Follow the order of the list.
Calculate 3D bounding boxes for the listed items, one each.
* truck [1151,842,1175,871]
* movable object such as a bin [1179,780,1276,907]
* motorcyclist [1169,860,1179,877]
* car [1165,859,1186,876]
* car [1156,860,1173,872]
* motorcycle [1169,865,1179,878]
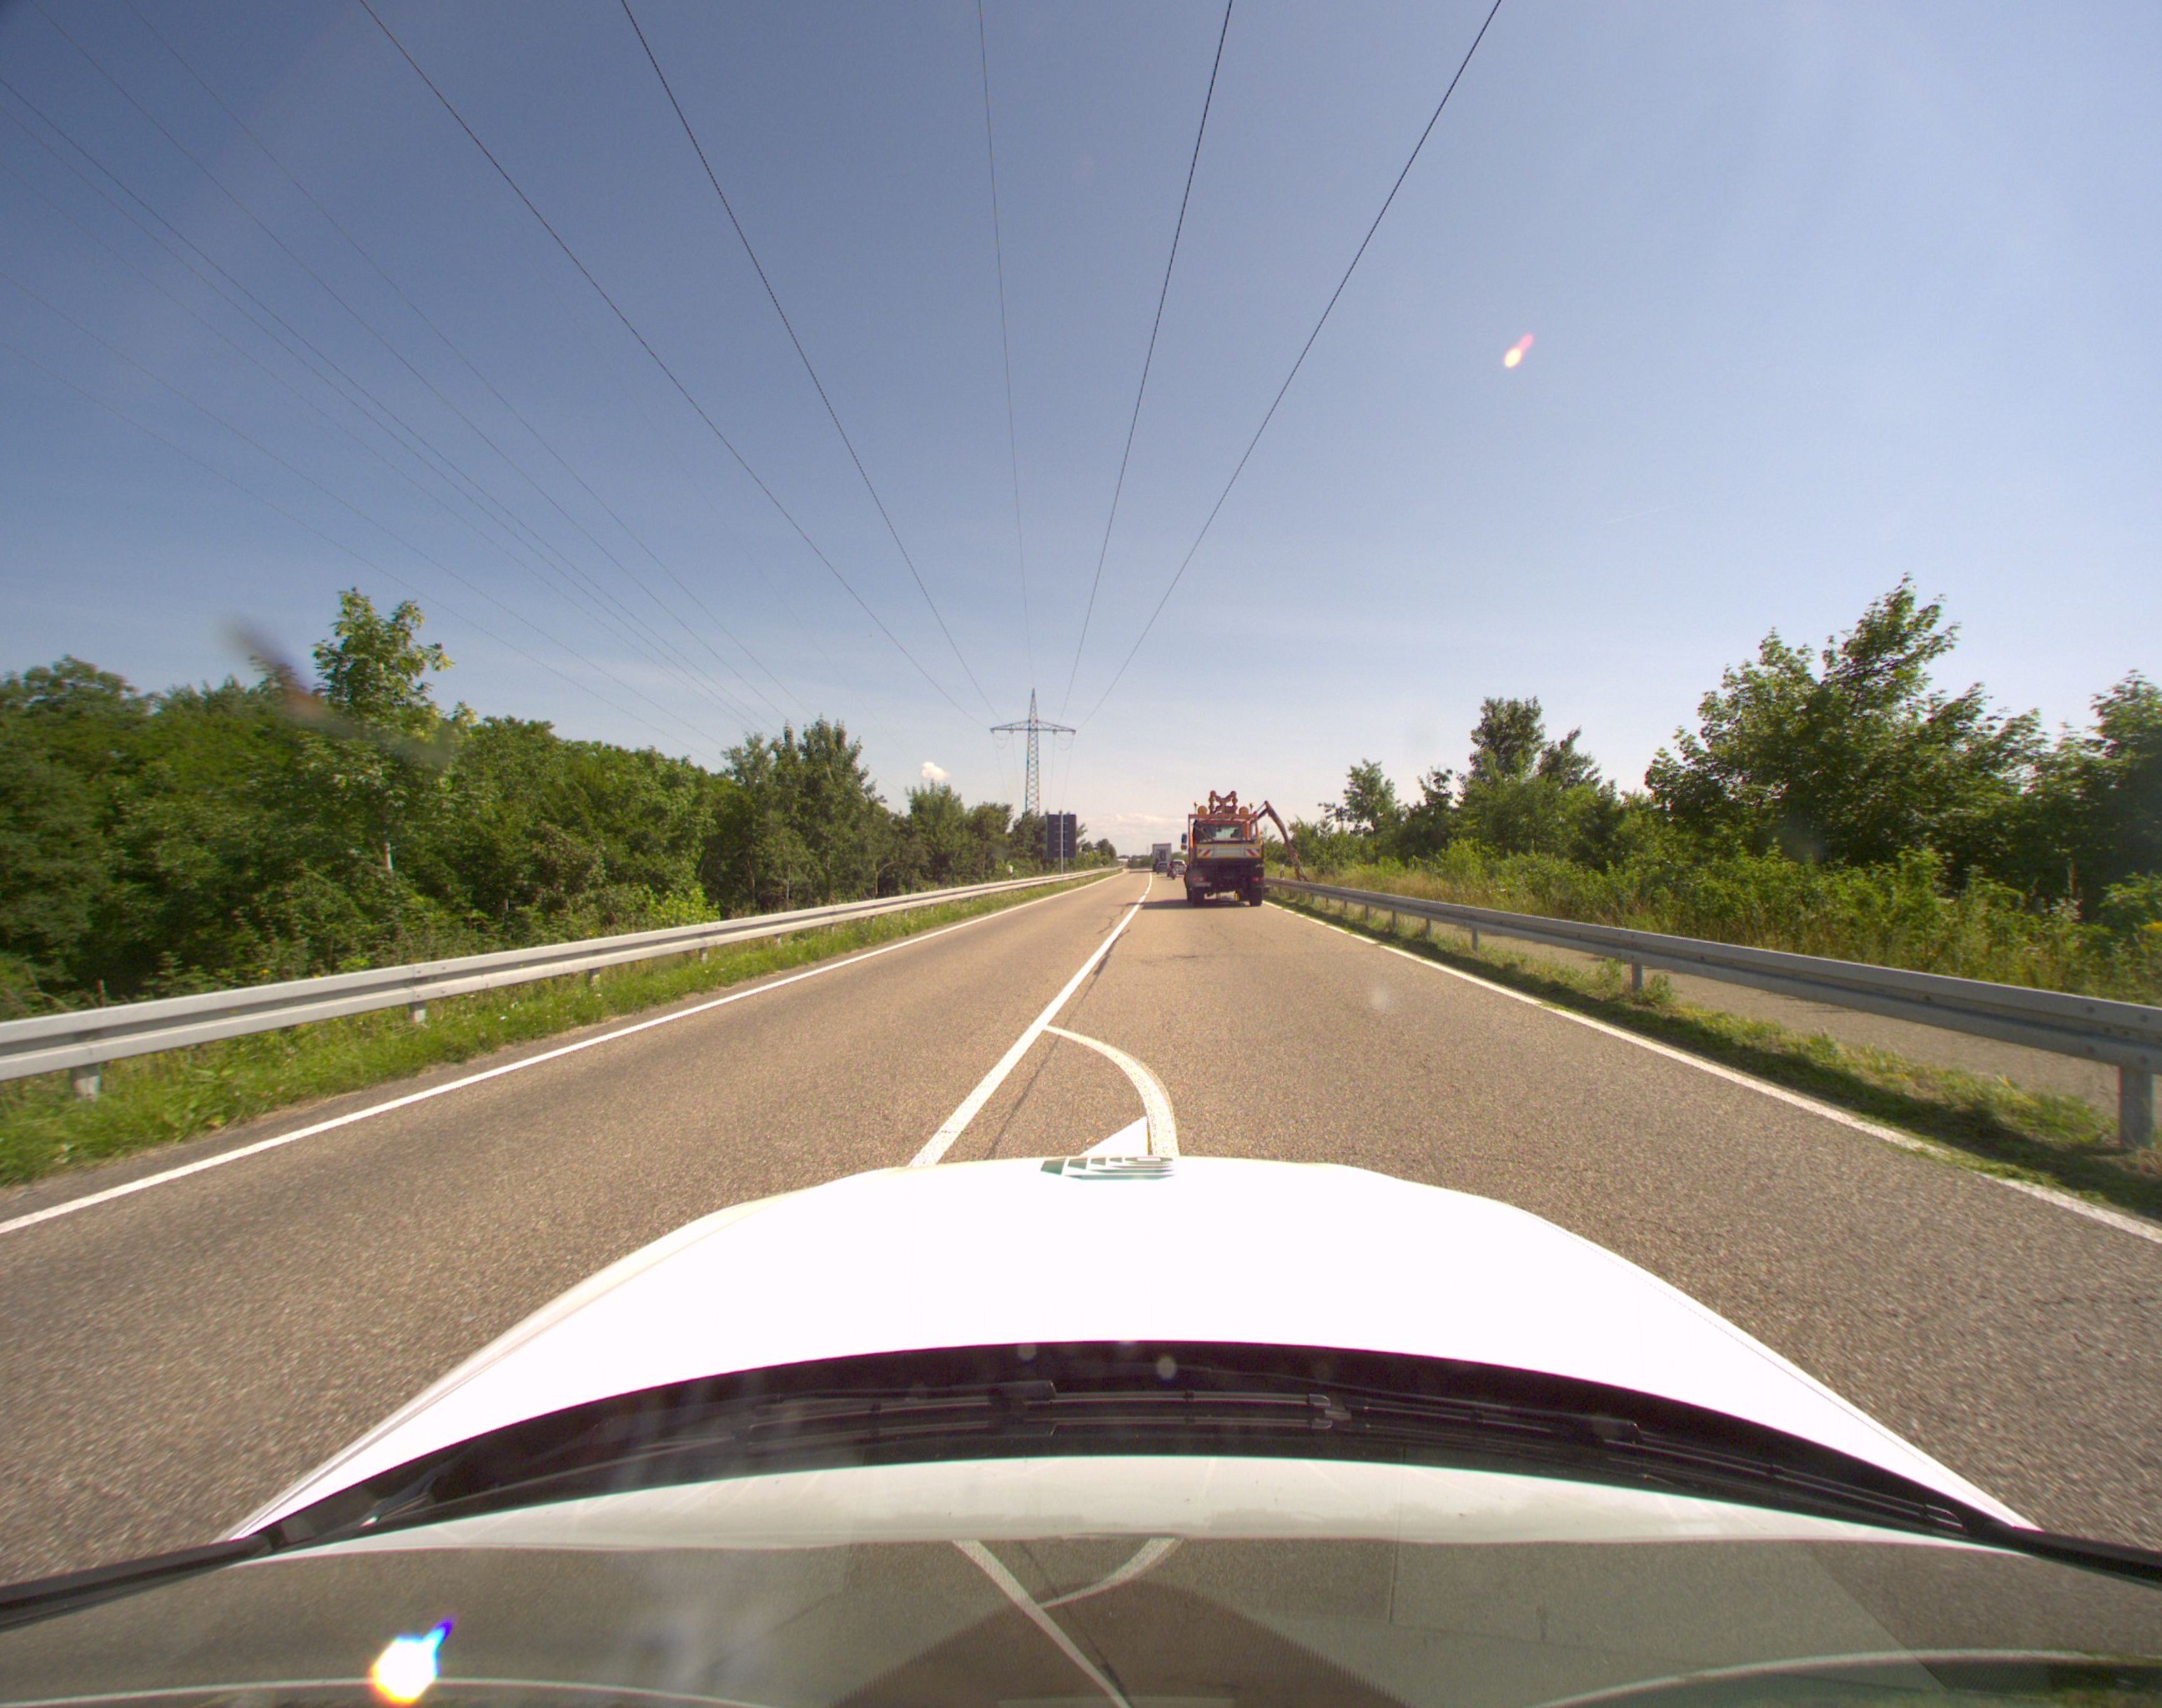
[{"bbox_3d":[12.021,0.430,119.522,3.225,3.979,9.458,-1,-1,6],"label":"truck"},{"bbox_3d":[5.006,-0.310,29.497,2.739,3.839,9.461,-1,0,6],"label":"movable object such as a bin"},{"bbox_3d":[7.354,1.115,64.619,0.776,1.325,0.814,-1,0,5],"label":"motorcyclist"},{"bbox_3d":[8.720,1.250,75.034,1.815,1.451,4.009,-1,0,8],"label":"car"},{"bbox_3d":[9.805,1.423,95.878,1.857,1.420,4.006,-1,0,5],"label":"car"},{"bbox_3d":[7.346,1.394,64.596,0.776,0.975,2.365,-1,0,6],"label":"motorcycle"}]
